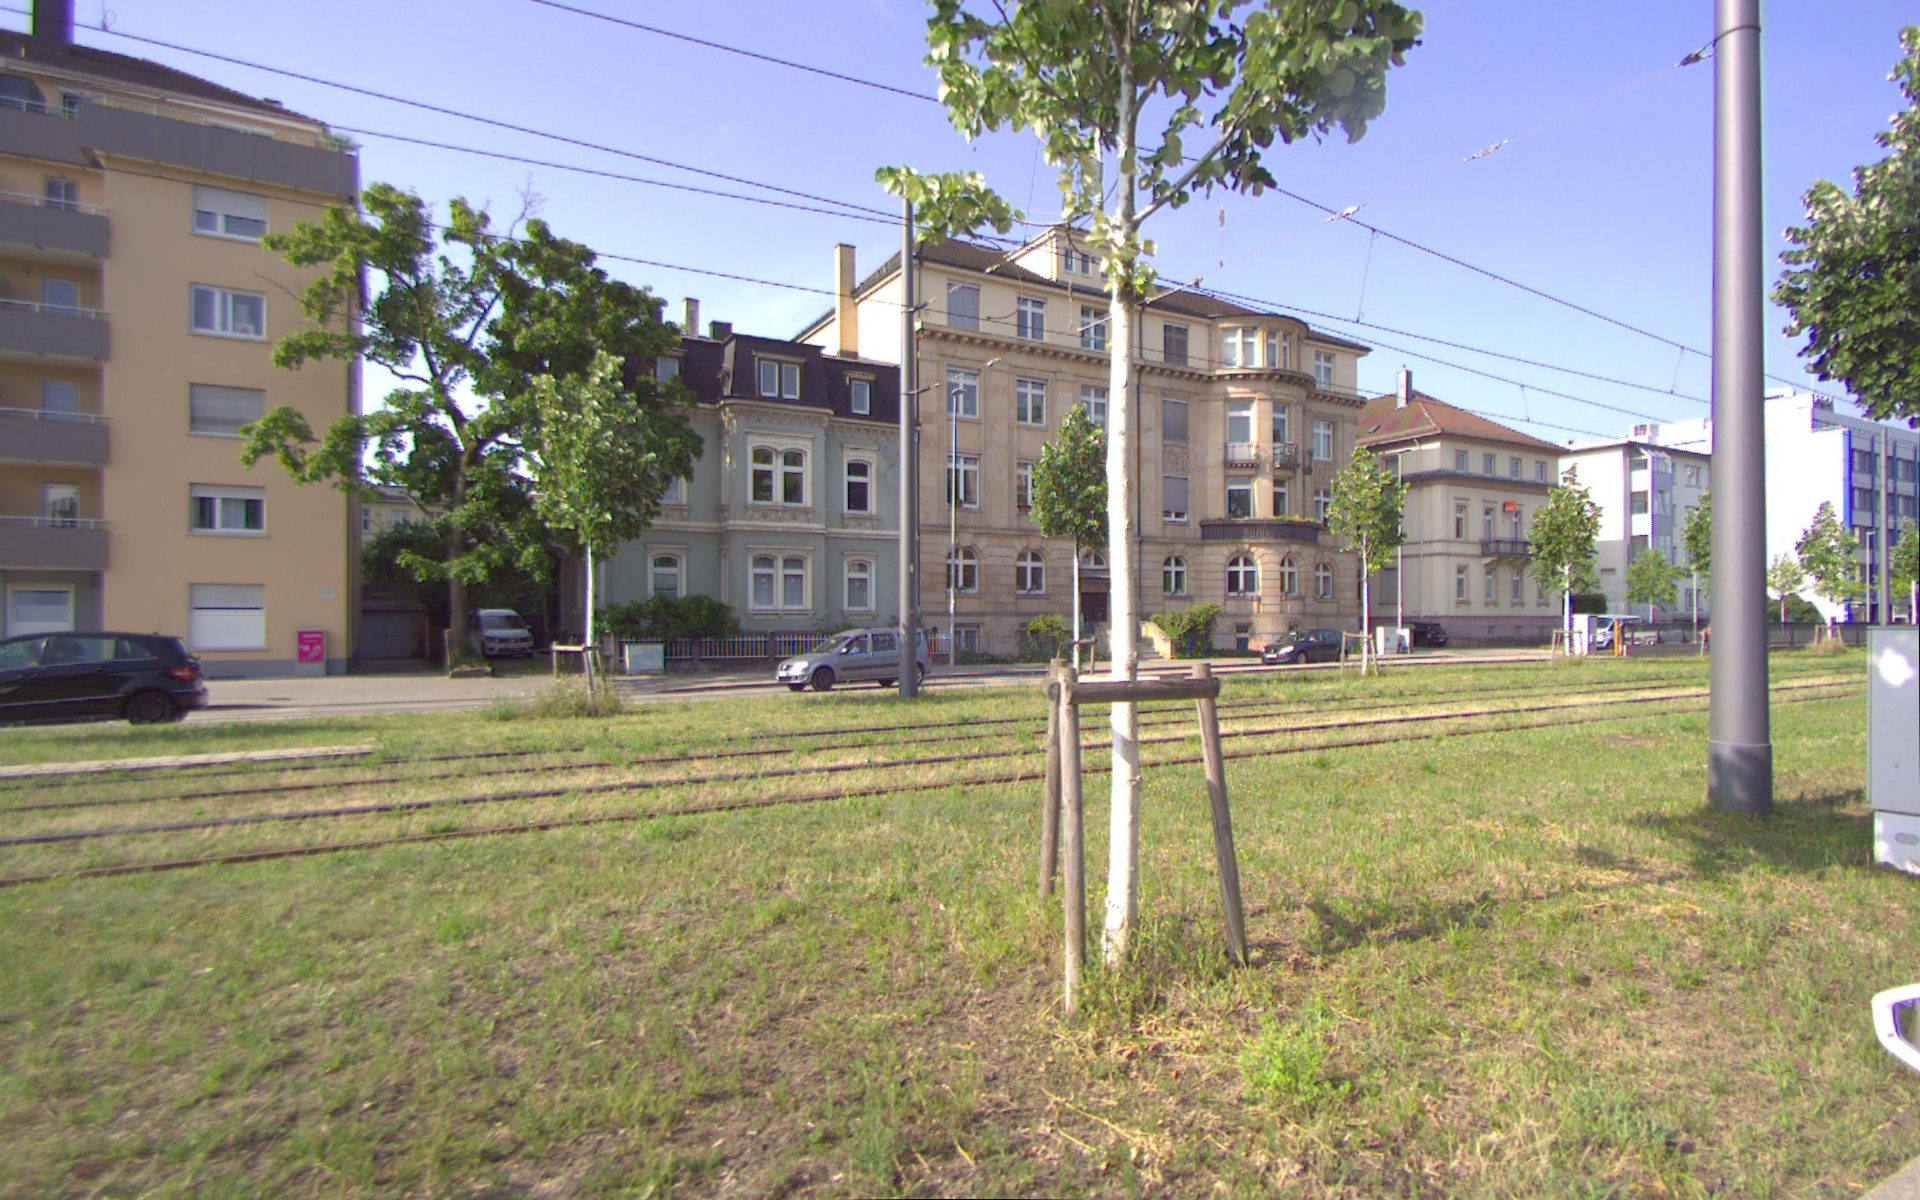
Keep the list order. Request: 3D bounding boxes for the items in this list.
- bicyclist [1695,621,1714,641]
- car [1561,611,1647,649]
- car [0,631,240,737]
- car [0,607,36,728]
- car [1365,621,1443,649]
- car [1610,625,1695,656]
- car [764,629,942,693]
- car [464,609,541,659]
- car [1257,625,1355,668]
[{"bbox_3d":[45.653,1.880,61.591,1.237,1.194,0.529,-1,2,-33],"label":"bicyclist"},{"bbox_3d":[38.096,1.772,59.380,5.205,2.040,2.237,3,0,-32],"label":"car"},{"bbox_3d":[-14.233,1.275,15.998,4.349,1.533,1.983,1,-1,-32],"label":"car"},{"bbox_3d":[-18.944,1.124,16.482,5.244,2.040,1.983,1,-1,-32],"label":"car"},{"bbox_3d":[26.029,2.052,59.018,1.637,1.572,3.963,1,-2,-33],"label":"car"},{"bbox_3d":[36.323,2.145,52.683,4.386,1.486,1.984,3,-2,-30],"label":"car"},{"bbox_3d":[-2.883,1.591,27.524,4.484,1.597,1.980,1,-2,-36],"label":"car"},{"bbox_3d":[-17.219,1.259,37.707,2.140,1.772,4.606,1,-2,-31],"label":"car"},{"bbox_3d":[13.308,1.736,38.608,3.782,1.483,1.510,-1,-1,-32],"label":"car"}]
